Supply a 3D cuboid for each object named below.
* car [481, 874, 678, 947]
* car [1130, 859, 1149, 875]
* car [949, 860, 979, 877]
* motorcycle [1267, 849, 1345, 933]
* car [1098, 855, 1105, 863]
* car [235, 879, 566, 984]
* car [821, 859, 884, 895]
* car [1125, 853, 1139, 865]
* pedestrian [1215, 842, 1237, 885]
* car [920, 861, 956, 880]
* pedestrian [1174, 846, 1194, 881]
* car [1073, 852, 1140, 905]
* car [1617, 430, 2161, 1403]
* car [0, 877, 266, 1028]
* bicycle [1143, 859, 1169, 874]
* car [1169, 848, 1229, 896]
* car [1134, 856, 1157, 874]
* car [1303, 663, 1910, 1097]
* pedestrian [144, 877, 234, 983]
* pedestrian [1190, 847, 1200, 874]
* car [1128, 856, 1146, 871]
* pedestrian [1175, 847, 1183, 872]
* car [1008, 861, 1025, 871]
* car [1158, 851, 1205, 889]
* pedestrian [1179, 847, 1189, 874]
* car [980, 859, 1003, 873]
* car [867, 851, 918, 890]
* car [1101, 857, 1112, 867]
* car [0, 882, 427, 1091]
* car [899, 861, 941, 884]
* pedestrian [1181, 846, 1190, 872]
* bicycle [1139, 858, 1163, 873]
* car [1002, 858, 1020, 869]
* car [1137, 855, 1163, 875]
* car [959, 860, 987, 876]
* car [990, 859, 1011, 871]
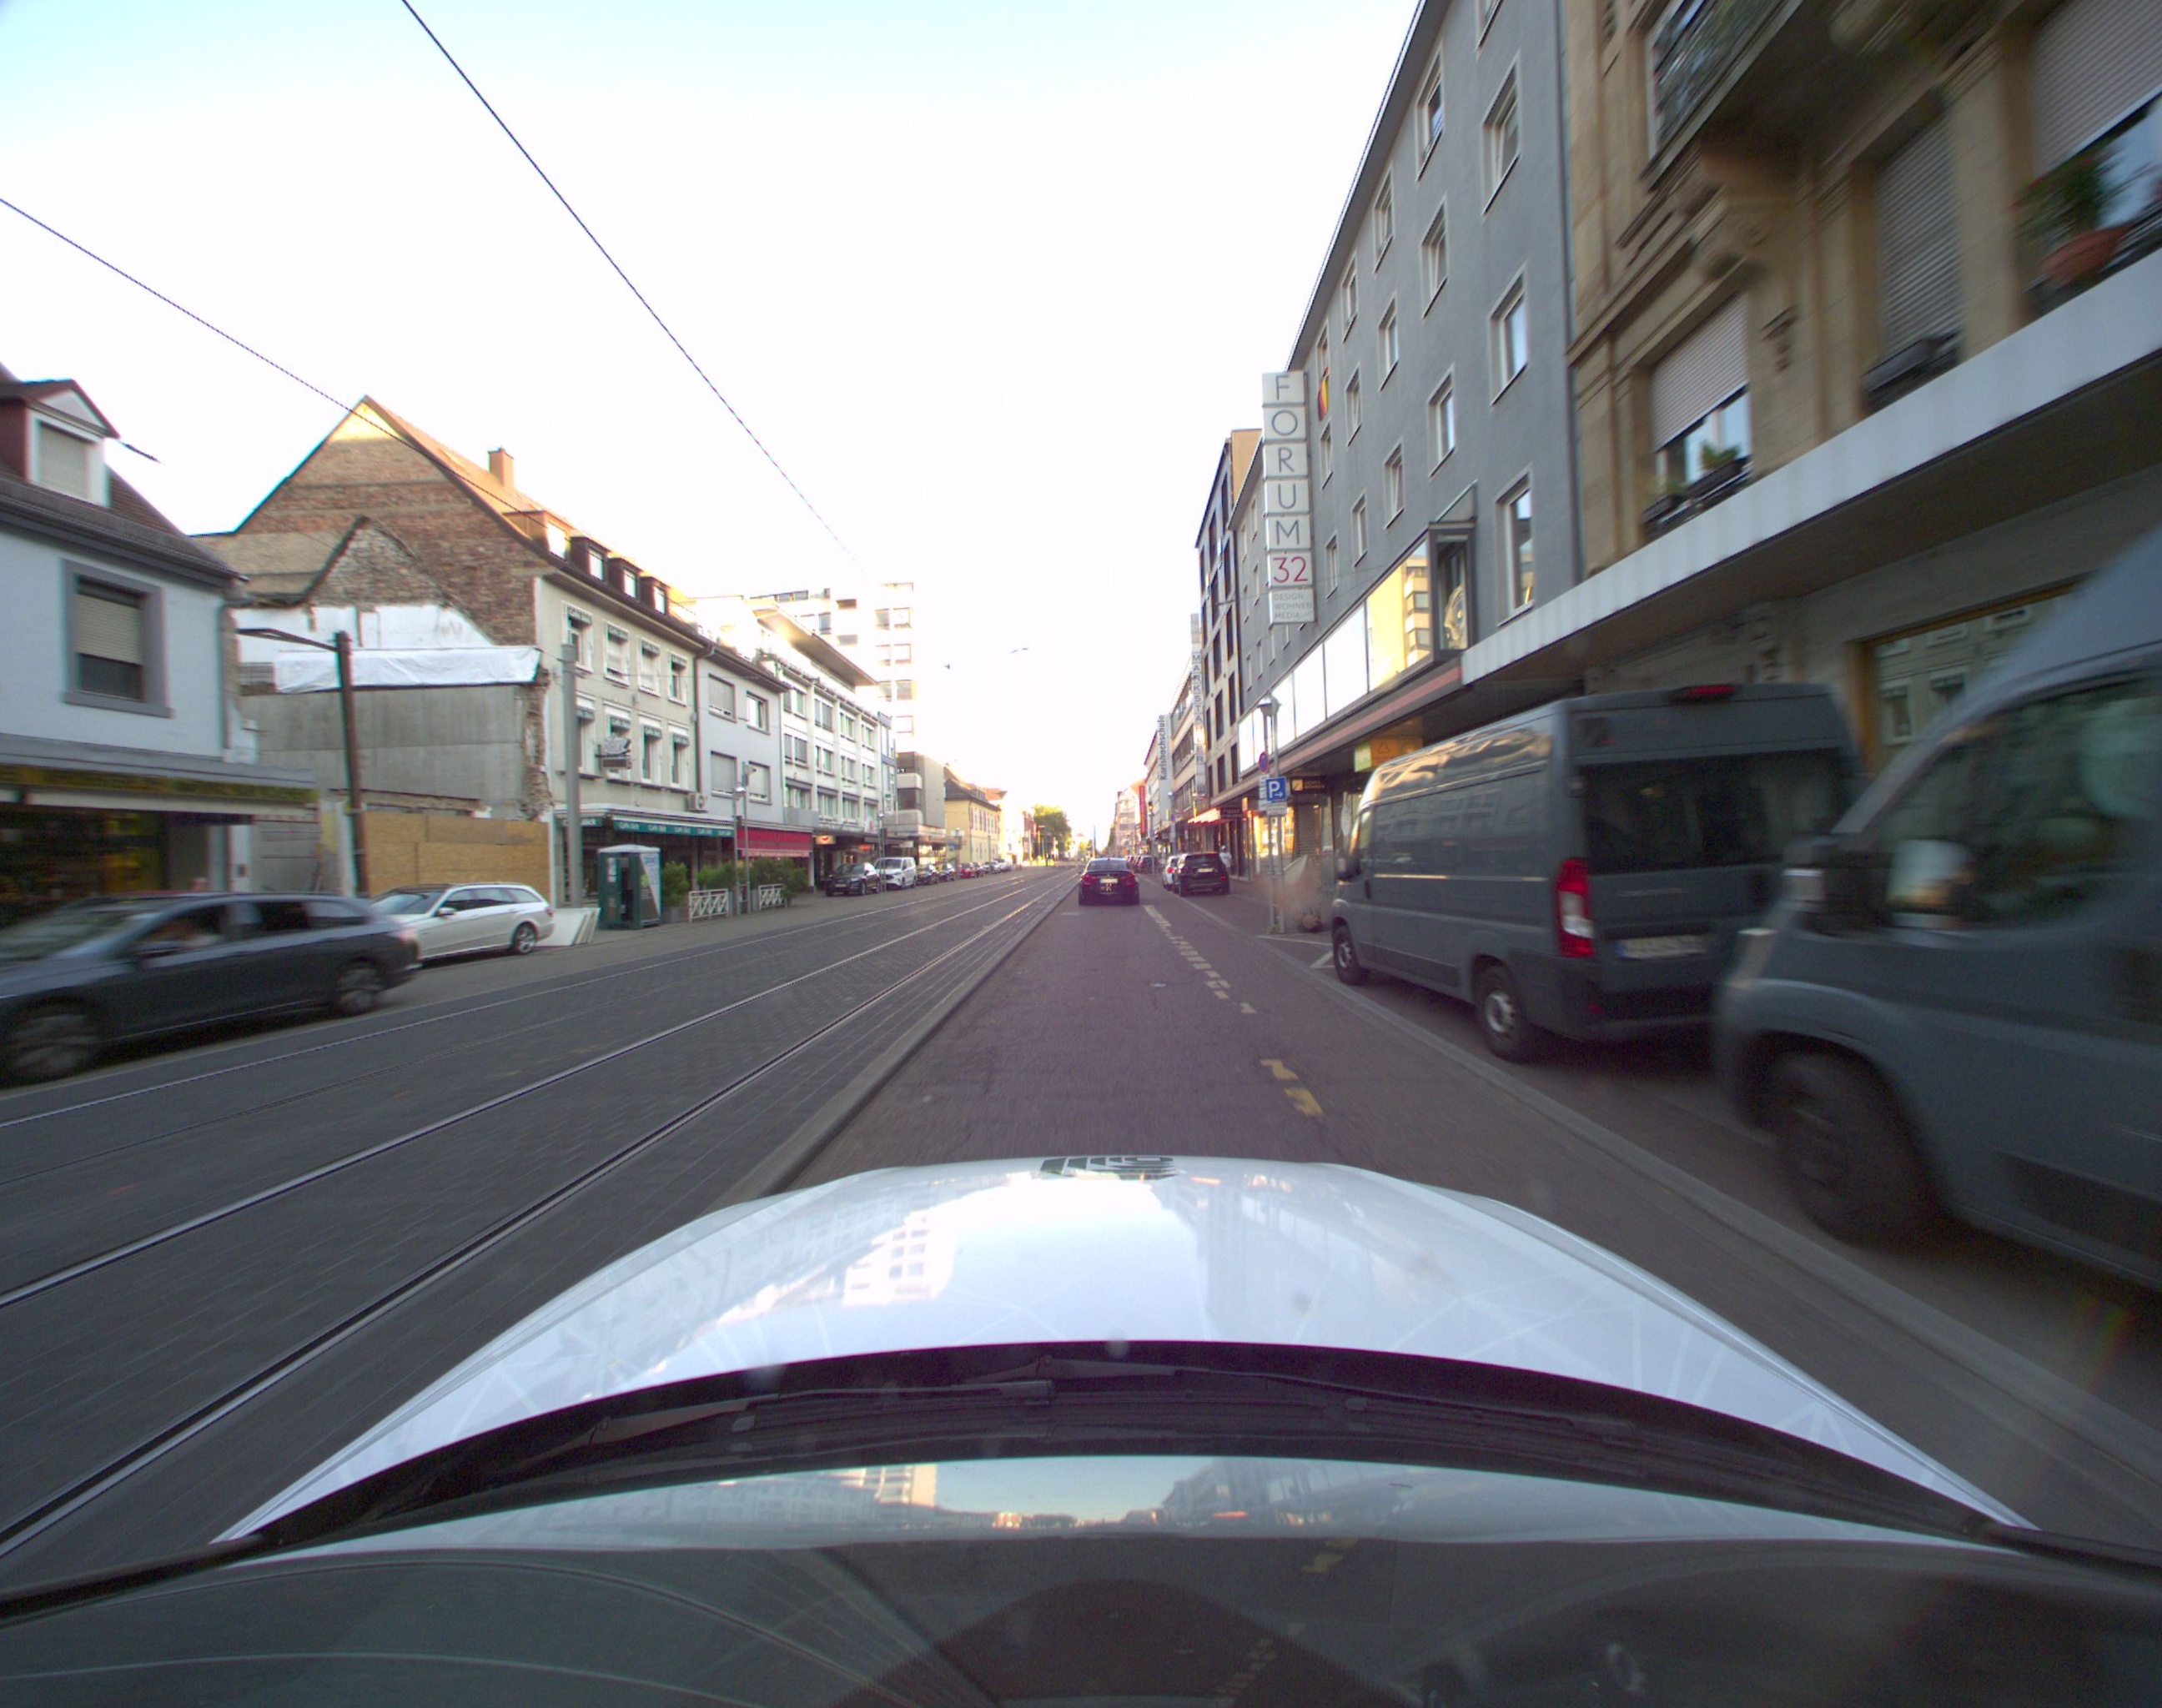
[{"bbox_3d":[-12.184,1.304,20.199,1.985,1.453,4.333,-2,0,3],"label":"car"},{"bbox_3d":[6.002,1.327,84.077,1.768,1.549,3.504,-2,-1,2],"label":"car"},{"bbox_3d":[-10.628,1.290,74.019,1.921,1.435,4.248,-1,0,2],"label":"car"},{"bbox_3d":[4.204,0.663,15.409,0.841,1.419,2.166,-4,0,2],"label":"motorcycle"},{"bbox_3d":[5.559,1.320,220.710,1.986,1.838,4.000,-2,-3,2],"label":"car"},{"bbox_3d":[-12.348,1.313,15.351,1.985,1.453,4.825,-2,0,3],"label":"car"},{"bbox_3d":[-11.700,1.150,42.023,1.853,1.678,4.466,-1,0,2],"label":"car"},{"bbox_3d":[6.991,0.713,111.139,1.768,1.549,3.504,-2,-1,2],"label":"car"},{"bbox_3d":[6.049,0.393,33.989,0.686,1.740,0.821,-4,0,3],"label":"pedestrian"},{"bbox_3d":[-11.197,1.274,64.038,1.921,1.435,4.248,-1,0,2],"label":"car"},{"bbox_3d":[4.966,0.474,39.320,0.561,1.647,0.751,-2,-1,-36],"label":"pedestrian"},{"bbox_3d":[0.900,0.749,26.491,1.945,1.498,4.468,-2,-1,3],"label":"car"},{"bbox_3d":[3.728,0.129,1.074,2.085,2.455,6.034,-3,0,1],"label":"car"},{"bbox_3d":[-12.498,1.147,10.305,1.471,1.577,2.795,-2,0,1],"label":"car"},{"bbox_3d":[5.450,0.905,59.022,1.854,1.080,0.469,-2,-2,2],"label":"bicycle"},{"bbox_3d":[4.277,0.621,30.046,1.648,1.537,3.887,-3,0,1],"label":"car"},{"bbox_3d":[5.930,1.004,74.890,1.896,1.549,3.781,-2,-1,2],"label":"car"},{"bbox_3d":[3.863,0.153,7.552,2.026,2.455,5.409,-4,0,0],"label":"car"},{"bbox_3d":[-14.576,1.220,13.325,0.660,1.644,0.695,-2,0,2],"label":"pedestrian"},{"bbox_3d":[7.627,0.438,54.395,0.506,1.792,0.760,-3,0,2],"label":"pedestrian"},{"bbox_3d":[6.161,1.019,89.731,1.768,1.549,3.504,-2,-1,2],"label":"car"},{"bbox_3d":[6.808,0.400,56.793,0.473,1.699,0.753,-3,0,5],"label":"pedestrian"},{"bbox_3d":[-9.602,1.821,121.444,1.921,1.435,4.248,-1,0,2],"label":"car"},{"bbox_3d":[4.297,0.665,35.273,1.554,1.442,3.710,-4,0,1],"label":"car"},{"bbox_3d":[6.926,0.437,54.742,0.552,1.791,0.760,-3,0,2],"label":"pedestrian"},{"bbox_3d":[-10.085,1.306,92.429,1.921,1.435,4.248,-2,0,2],"label":"car"},{"bbox_3d":[-11.415,0.958,49.666,1.988,2.156,4.909,-2,0,-1],"label":"car"},{"bbox_3d":[4.295,1.341,135.909,1.768,1.549,3.504,-2,-1,2],"label":"car"},{"bbox_3d":[-9.101,1.128,7.971,1.686,1.453,4.465,-3,0,1],"label":"car"},{"bbox_3d":[-11.260,1.260,57.107,1.921,1.435,4.248,-1,0,2],"label":"car"},{"bbox_3d":[7.289,0.325,56.755,0.486,1.790,0.761,-3,0,5],"label":"pedestrian"},{"bbox_3d":[5.557,0.888,64.757,1.854,1.119,0.469,-2,-2,2],"label":"bicycle"},{"bbox_3d":[-9.652,1.331,112.861,1.921,1.435,4.248,-1,0,2],"label":"car"},{"bbox_3d":[5.734,0.942,68.149,1.896,1.549,4.001,-2,-1,2],"label":"car"},{"bbox_3d":[-10.434,1.300,79.025,1.921,1.435,4.248,-1,0,2],"label":"car"},{"bbox_3d":[-9.729,1.291,98.505,1.921,1.435,4.248,-1,0,2],"label":"car"}]
